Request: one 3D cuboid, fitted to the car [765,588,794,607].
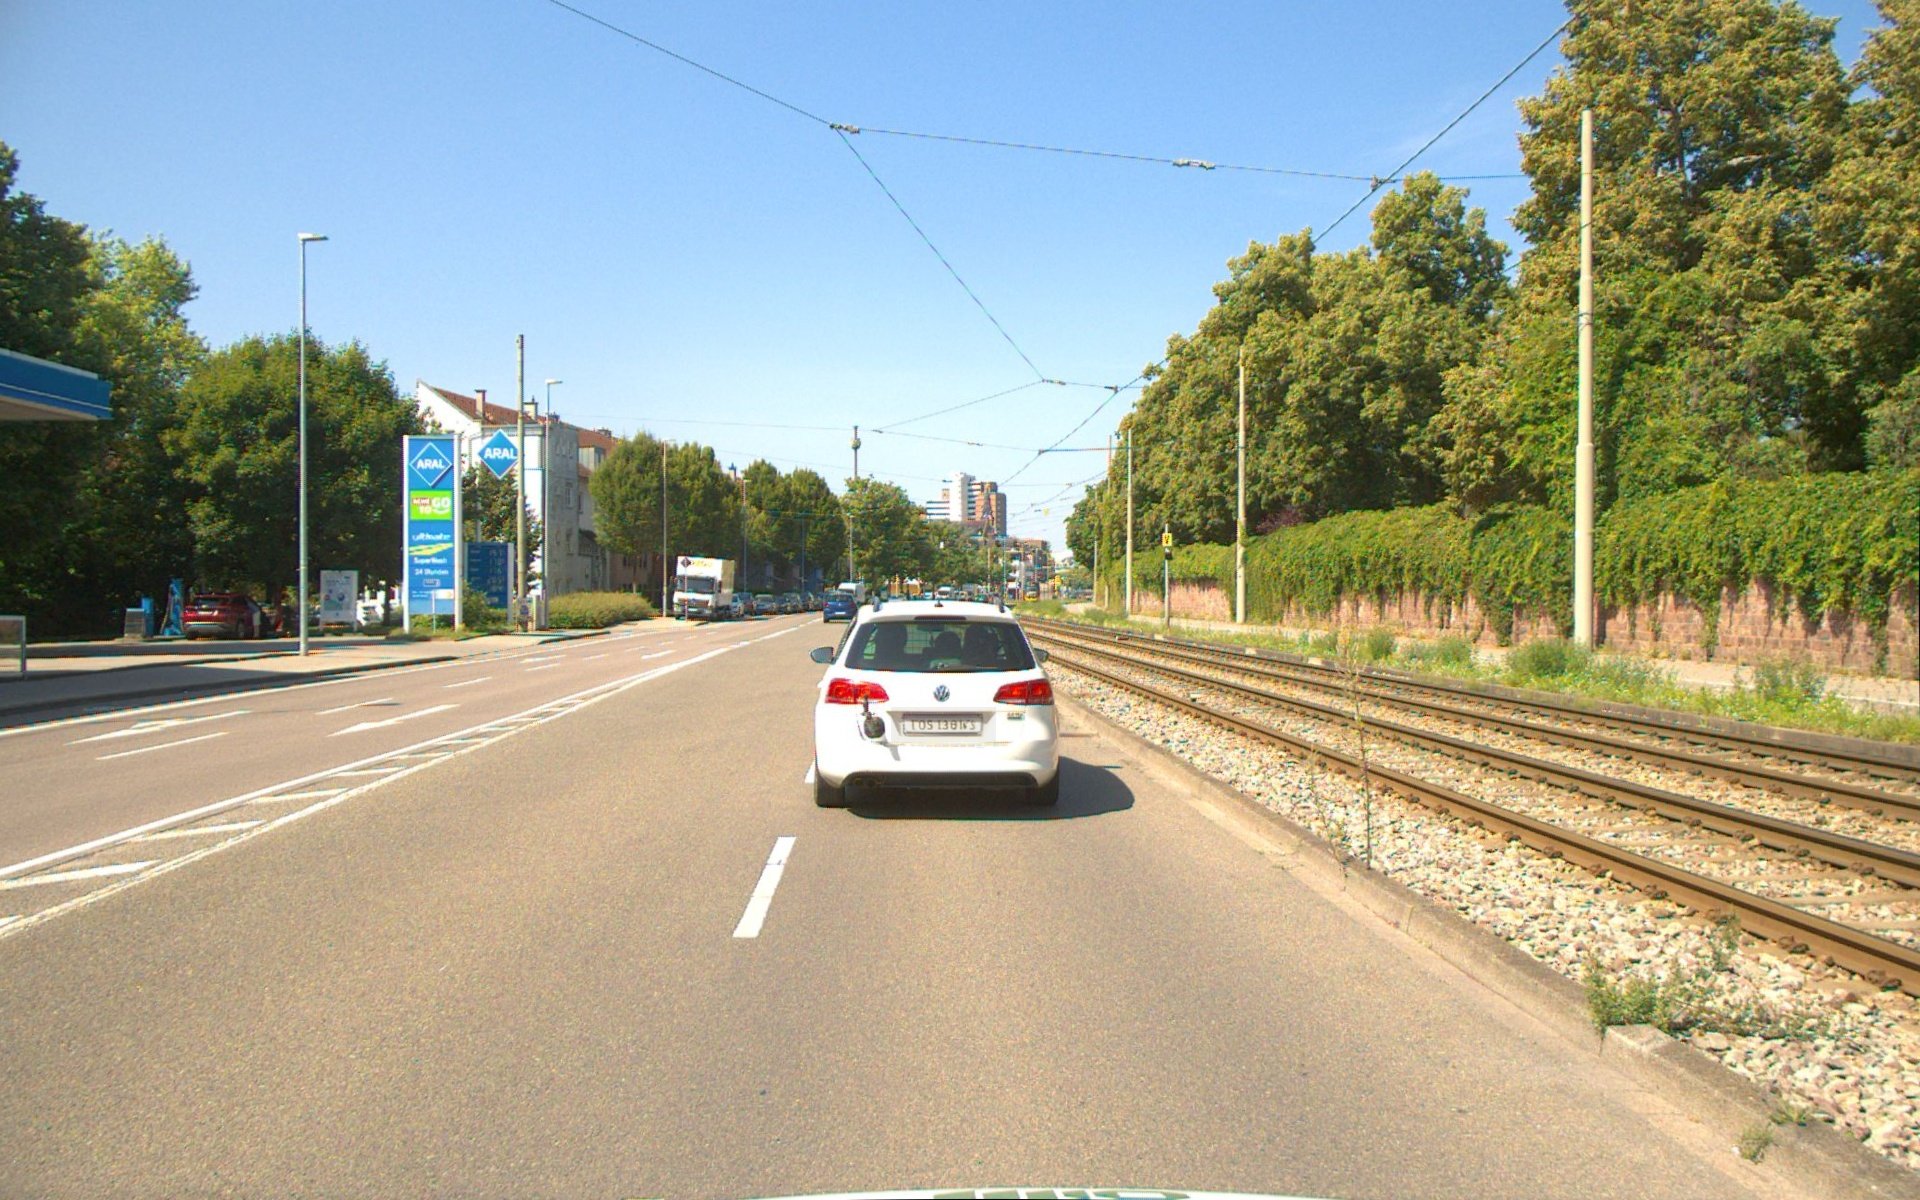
[{"bbox_3d":[-14.490,-0.221,132.898,1.687,1.500,4.715,1,0,1],"label":"car"}]

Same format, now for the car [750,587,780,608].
[{"bbox_3d":[-14.887,-0.184,126.219,1.744,1.509,4.856,1,0,-1],"label":"car"}]

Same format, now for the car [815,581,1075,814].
[{"bbox_3d":[-0.163,0.608,12.931,1.657,1.476,4.457,1,1,-2],"label":"car"}]

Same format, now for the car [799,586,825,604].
[{"bbox_3d":[-13.362,-0.441,149.879,1.655,1.500,4.050,3,0,4],"label":"car"}]

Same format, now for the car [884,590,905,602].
[{"bbox_3d":[-7.878,-0.449,199.157,1.663,1.442,4.003,0,0,10],"label":"car"}]

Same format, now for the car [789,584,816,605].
[{"bbox_3d":[-13.745,-0.498,144.406,1.733,1.753,4.871,2,0,1],"label":"car"}]

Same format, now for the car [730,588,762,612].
[{"bbox_3d":[-14.926,-0.020,115.577,1.695,1.579,4.318,1,0,-1],"label":"car"}]

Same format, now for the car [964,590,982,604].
[{"bbox_3d":[1.597,-0.379,196.359,1.762,1.533,4.003,1,1,6],"label":"car"}]

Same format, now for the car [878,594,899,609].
[{"bbox_3d":[-7.284,0.107,168.760,1.624,1.445,4.311,-2,0,3],"label":"car"}]

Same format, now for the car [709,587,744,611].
[{"bbox_3d":[-15.302,-0.077,108.612,1.722,1.454,4.280,1,0,-2],"label":"car"}]

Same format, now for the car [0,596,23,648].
[{"bbox_3d":[-26.828,0.609,42.902,1.762,1.369,4.244,0,1,21],"label":"car"}]

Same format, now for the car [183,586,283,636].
[{"bbox_3d":[-26.239,0.364,59.850,1.763,1.597,4.516,0,2,-2],"label":"car"}]

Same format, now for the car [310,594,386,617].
[{"bbox_3d":[-33.681,0.309,91.032,3.572,1.226,1.576,-1,0,9],"label":"car"}]

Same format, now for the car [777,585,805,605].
[{"bbox_3d":[-14.165,-0.422,138.875,1.681,1.653,4.314,1,0,2],"label":"car"}]

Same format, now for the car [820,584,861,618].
[{"bbox_3d":[-5.864,0.017,81.649,1.764,1.533,4.000,1,1,-1],"label":"car"}]

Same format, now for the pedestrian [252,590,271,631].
[{"bbox_3d":[-25.505,0.382,60.370,0.488,1.507,0.500,0,0,-2],"label":"pedestrian"}]

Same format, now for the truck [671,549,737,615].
[{"bbox_3d":[-14.722,-1.018,95.584,2.613,3.592,8.588,1,0,-2],"label":"truck"}]
